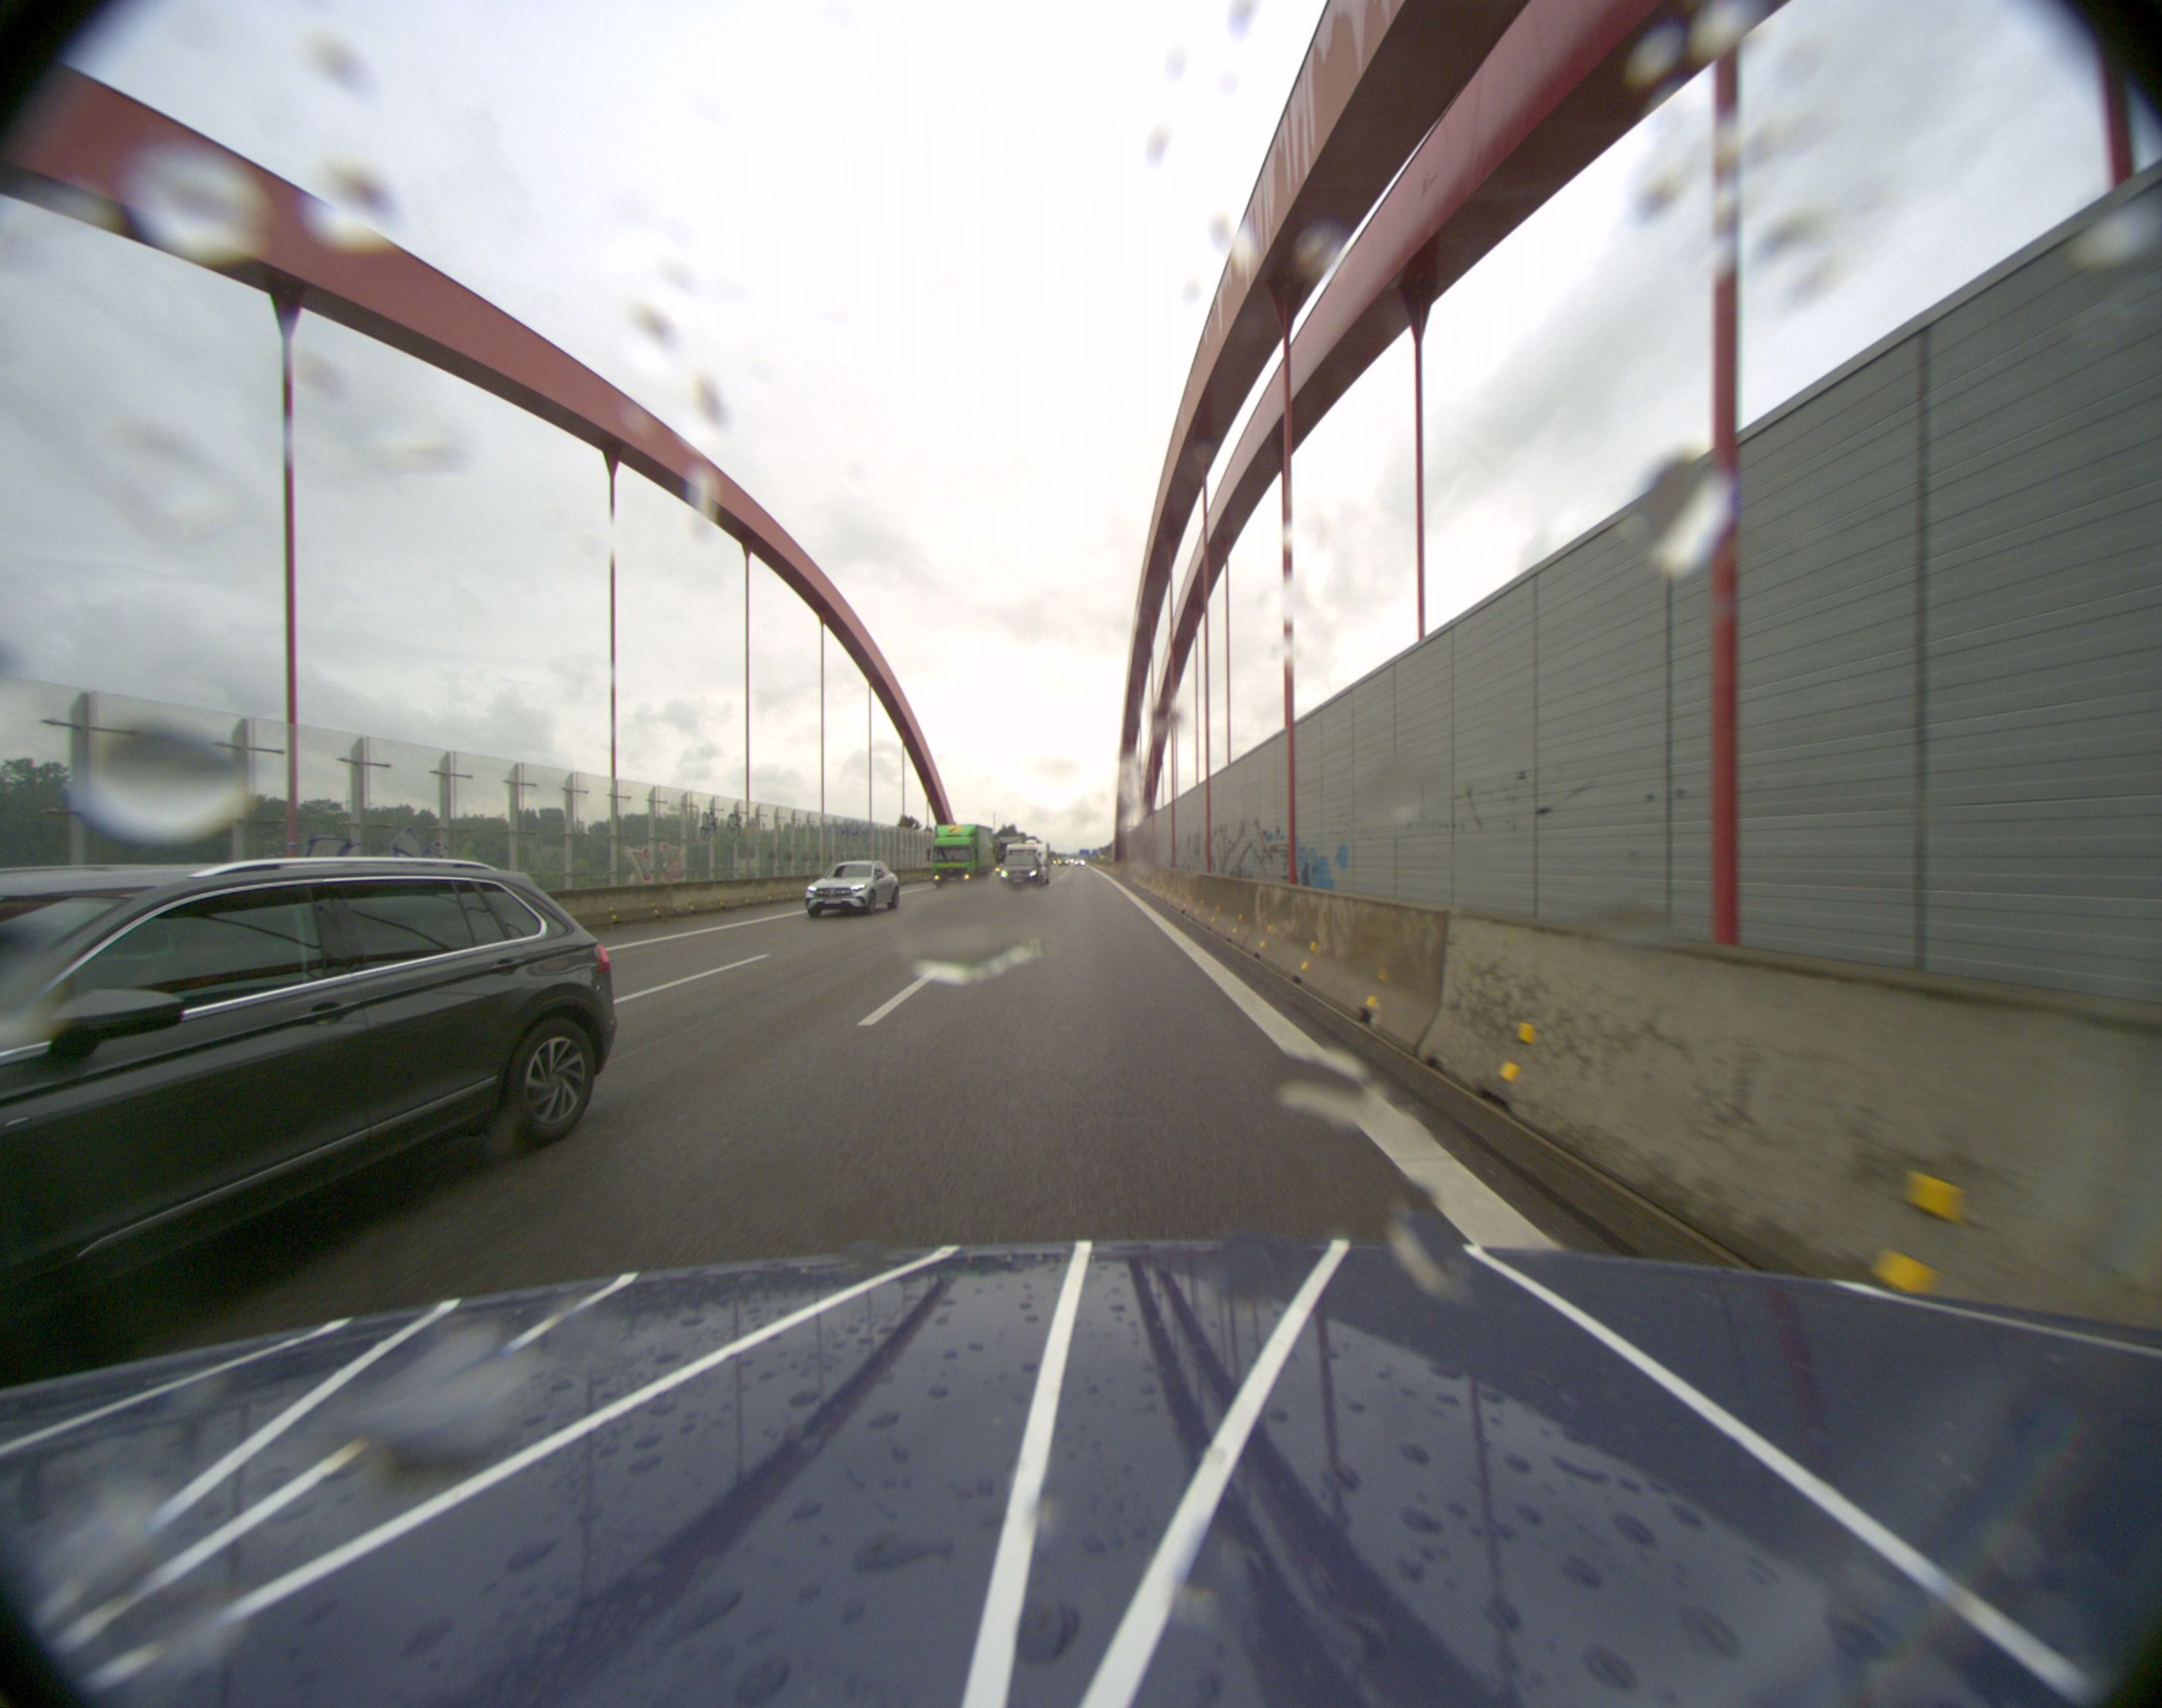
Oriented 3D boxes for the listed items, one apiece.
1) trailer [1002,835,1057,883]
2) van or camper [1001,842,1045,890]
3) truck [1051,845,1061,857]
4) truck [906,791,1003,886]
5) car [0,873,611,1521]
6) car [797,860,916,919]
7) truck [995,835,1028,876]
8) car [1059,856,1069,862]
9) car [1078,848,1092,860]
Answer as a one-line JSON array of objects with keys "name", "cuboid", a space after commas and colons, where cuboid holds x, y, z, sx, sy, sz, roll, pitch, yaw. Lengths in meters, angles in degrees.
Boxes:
[{"name": "trailer", "cuboid": [-3.010, 0.279, 46.228, 2.728, 2.627, 7.511, -1, 0, 0]}, {"name": "van or camper", "cuboid": [-2.940, 0.568, 39.684, 1.895, 2.256, 5.678, -2, 0, -1]}, {"name": "truck", "cuboid": [-6.995, -0.802, 213.920, 2.617, 3.218, 4.632, -1, 0, -1]}, {"name": "truck", "cuboid": [-7.736, -0.885, 48.666, 4.007, 5.235, 11.219, -2, 0, 1]}, {"name": "car", "cuboid": [-3.879, 0.981, 2.629, 1.917, 1.660, 4.103, -2, 0, -1]}, {"name": "car", "cuboid": [-7.048, 1.055, 24.569, 1.998, 1.610, 5.328, 0, 0, 3]}, {"name": "truck", "cuboid": [-7.190, 0.110, 80.109, 2.820, 3.927, 12.710, -1, 0, -2]}, {"name": "car", "cuboid": [-3.630, 1.057, 159.940, 2.061, 1.020, 3.437, -2, 0, -1]}, {"name": "car", "cuboid": [0.831, 0.036, 158.679, 2.680, 2.340, 5.806, -1, 0, -3]}]
